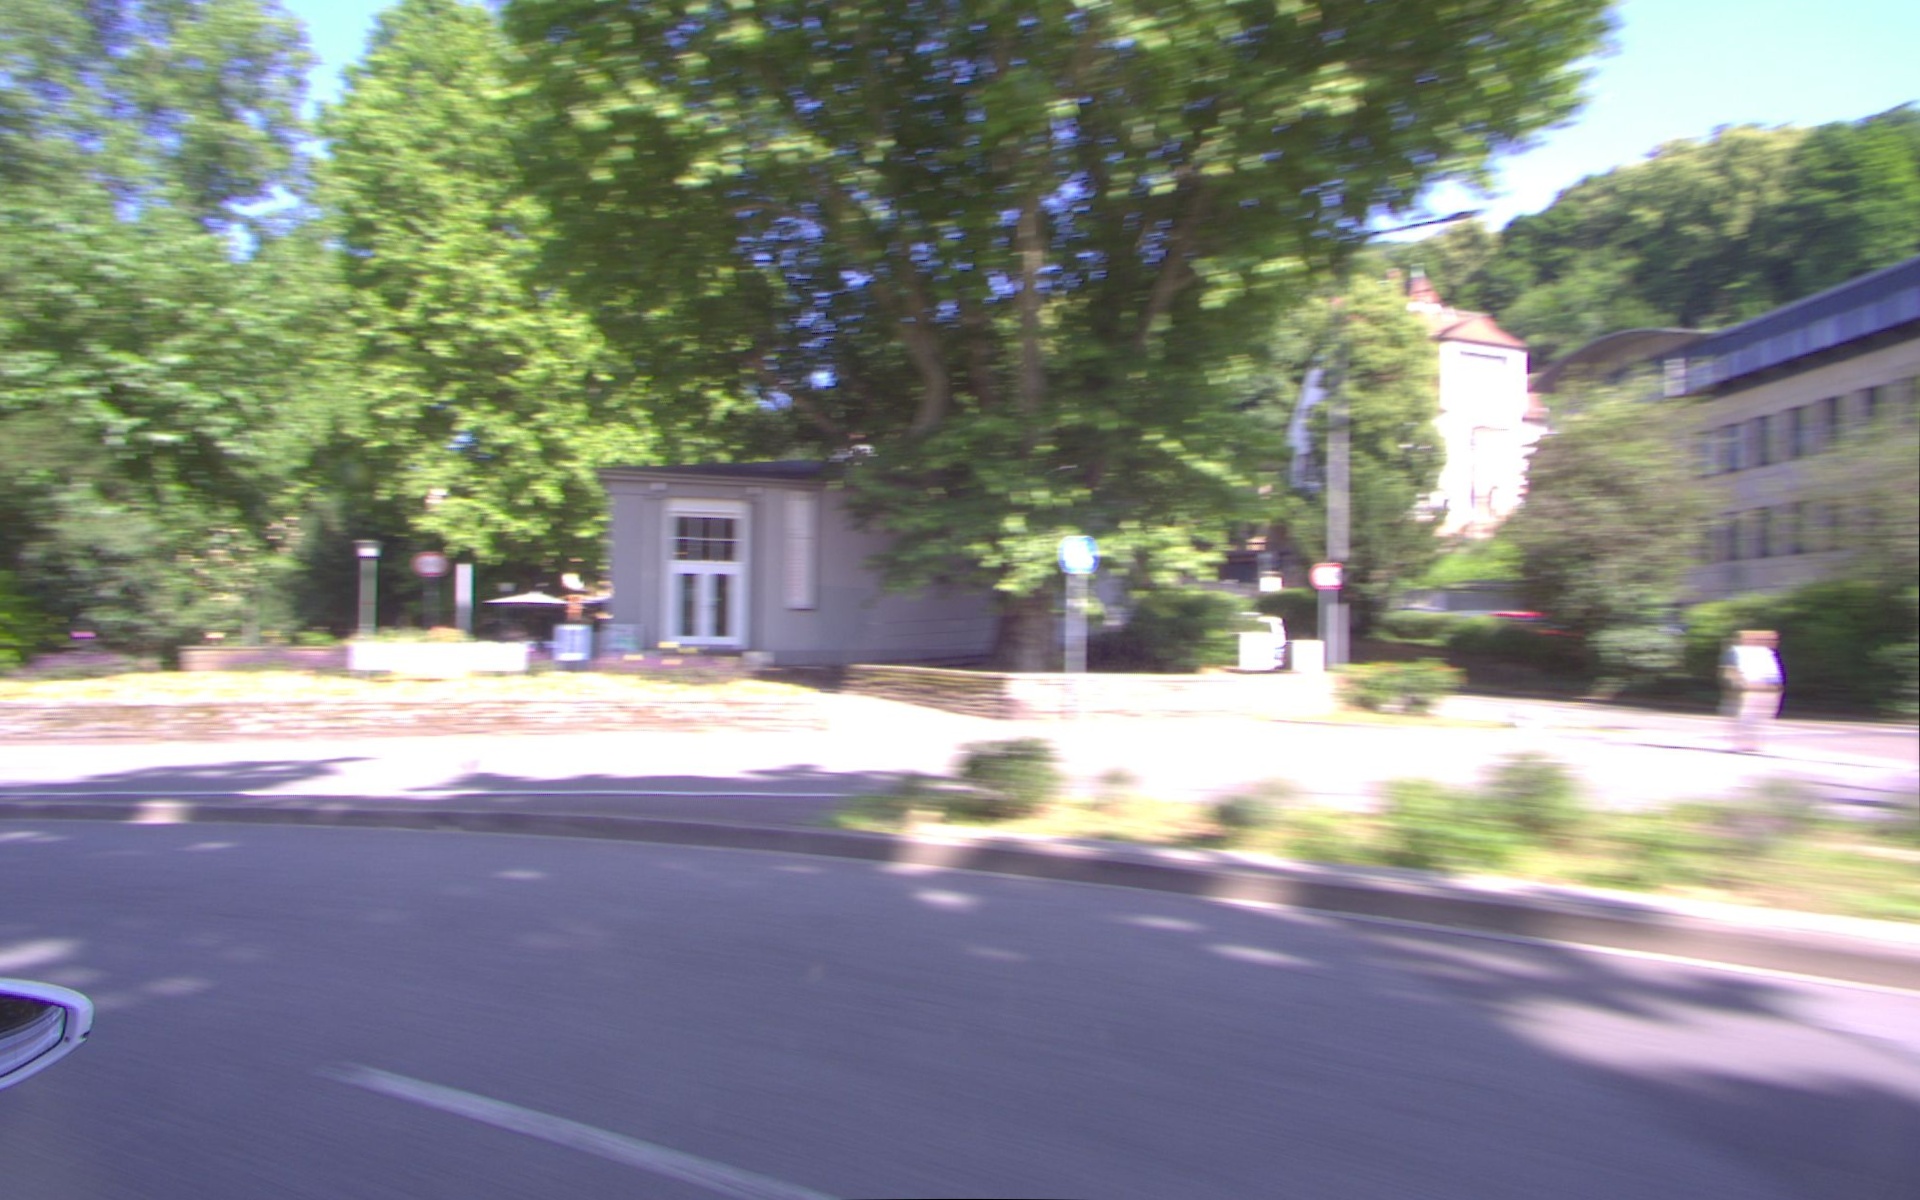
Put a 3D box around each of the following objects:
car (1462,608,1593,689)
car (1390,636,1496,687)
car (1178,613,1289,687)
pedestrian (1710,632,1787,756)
[{"bbox_3d":[19.330,1.695,34.306,1.900,2.603,4.002,0,-3,-6],"label":"car"},{"bbox_3d":[18.840,2.396,39.236,1.900,1.885,4.002,0,-3,-6],"label":"car"},{"bbox_3d":[10.133,1.882,37.513,2.041,2.539,4.929,2,-3,-11],"label":"car"},{"bbox_3d":[10.743,1.267,13.657,0.538,1.641,0.634,0,-2,4],"label":"pedestrian"}]
